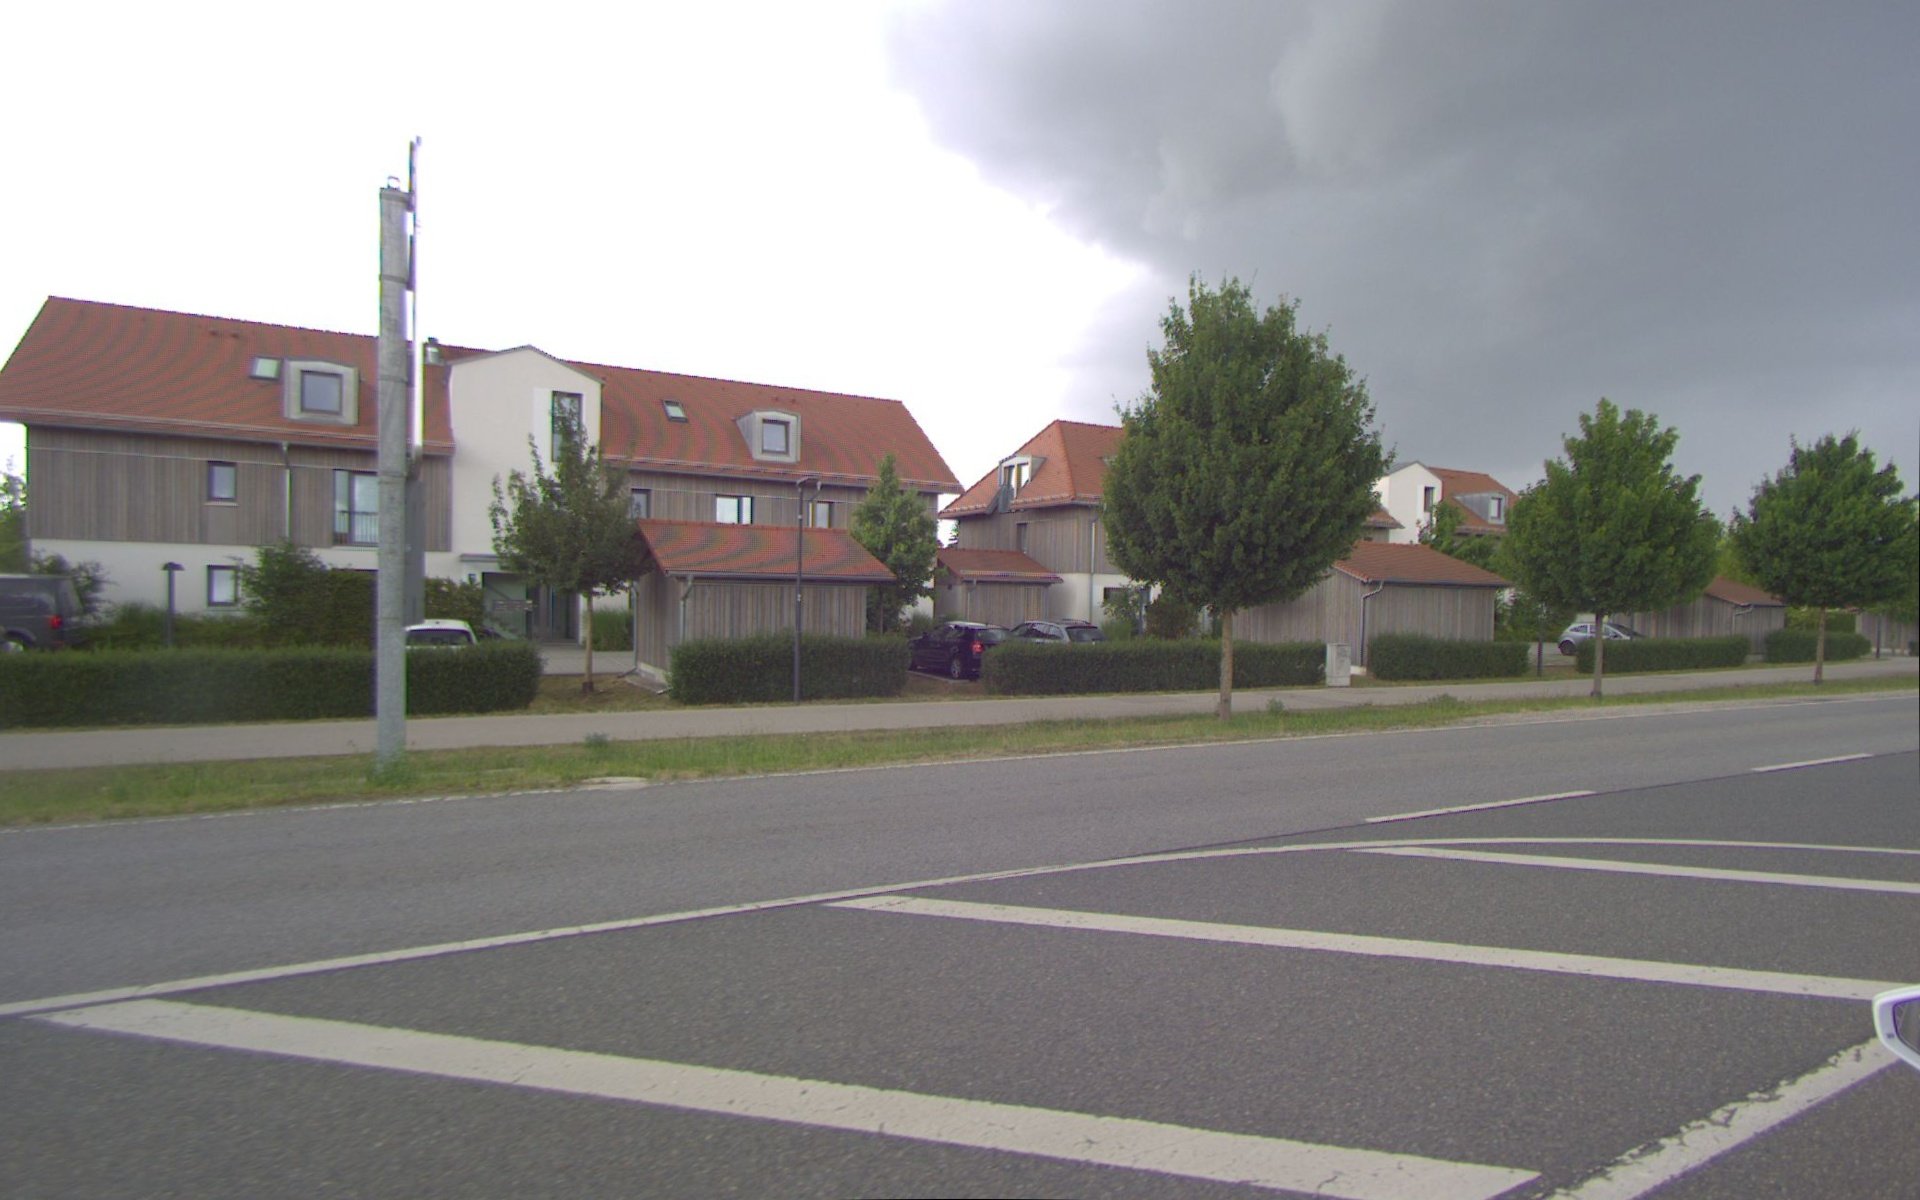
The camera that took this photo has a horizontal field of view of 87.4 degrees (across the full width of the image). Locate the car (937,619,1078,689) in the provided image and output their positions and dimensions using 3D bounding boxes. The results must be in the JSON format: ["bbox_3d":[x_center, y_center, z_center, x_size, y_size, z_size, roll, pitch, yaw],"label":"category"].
[{"bbox_3d":[1.156,1.335,26.250,1.975,1.639,3.971,1,-1,-28],"label":"car"}]

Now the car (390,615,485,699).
[{"bbox_3d":[-10.547,1.071,20.195,1.545,1.509,3.498,1,-1,-29],"label":"car"}]

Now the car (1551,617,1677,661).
[{"bbox_3d":[27.439,1.596,42.268,1.975,1.577,3.970,1,2,-28],"label":"car"}]

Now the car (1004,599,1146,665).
[{"bbox_3d":[3.038,0.833,27.292,1.975,1.639,3.971,1,-1,-28],"label":"car"}]

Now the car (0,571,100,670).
[{"bbox_3d":[-22.413,0.404,21.935,5.133,2.041,1.986,1,3,-27],"label":"car"}]
